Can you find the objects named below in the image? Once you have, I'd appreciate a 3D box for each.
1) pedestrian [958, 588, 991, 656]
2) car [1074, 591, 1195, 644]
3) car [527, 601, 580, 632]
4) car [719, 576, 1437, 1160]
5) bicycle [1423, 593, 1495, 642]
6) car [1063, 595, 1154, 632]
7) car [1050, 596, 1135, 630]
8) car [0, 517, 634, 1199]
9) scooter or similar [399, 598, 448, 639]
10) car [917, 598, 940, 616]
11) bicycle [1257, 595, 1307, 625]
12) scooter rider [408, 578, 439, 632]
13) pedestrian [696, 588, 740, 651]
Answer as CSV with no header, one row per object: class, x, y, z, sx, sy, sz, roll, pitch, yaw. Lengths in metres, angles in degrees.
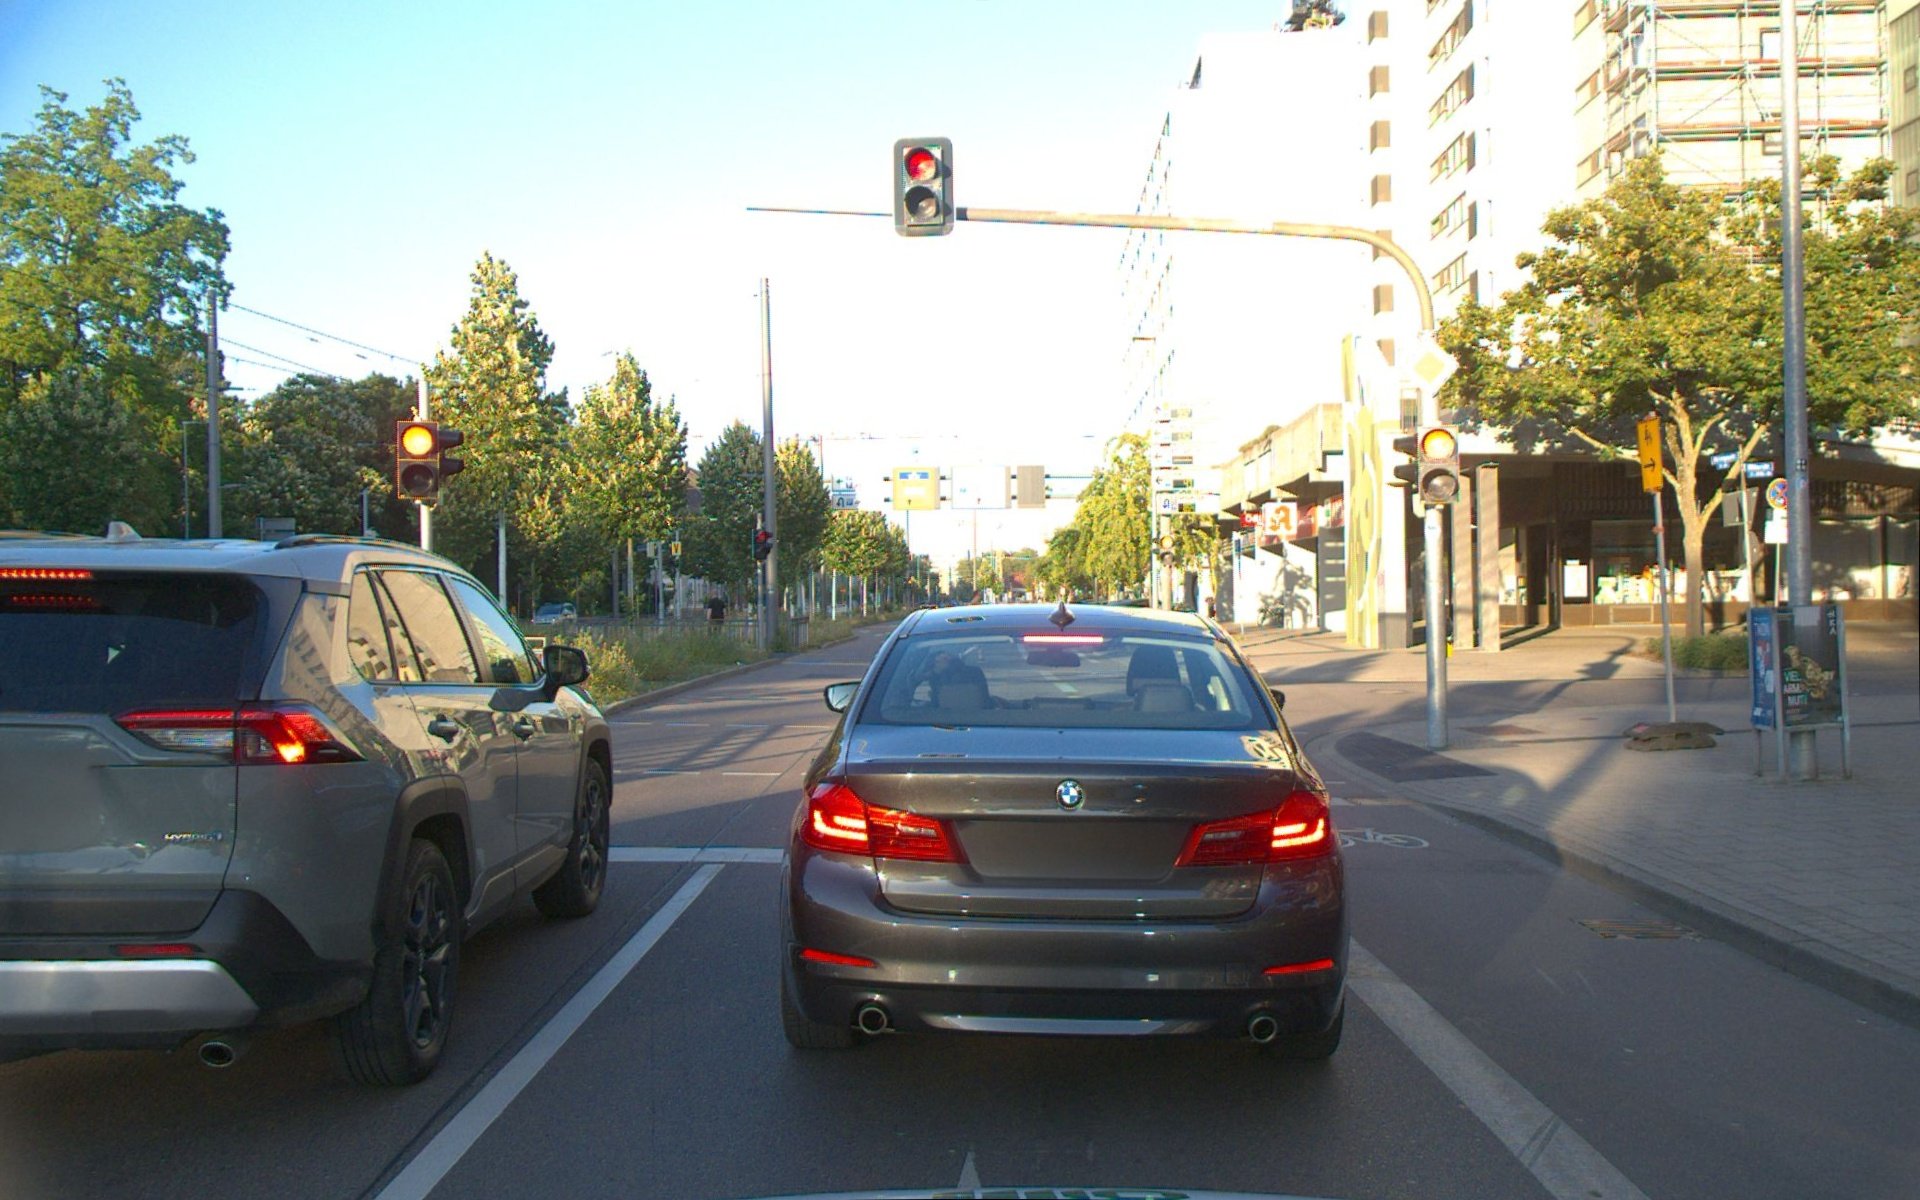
pedestrian,0.373,0.568,43.112,0.818,1.742,0.647,-1,0,-2
car,6.004,0.555,56.618,4.234,1.687,1.831,-1,1,-43
car,-21.224,0.845,86.484,1.763,1.507,3.783,-1,0,0
car,0.373,0.676,6.648,1.892,1.507,4.524,0,1,2
bicycle,12.501,0.438,41.517,0.678,1.169,2.012,2,-1,-18
car,7.125,0.622,79.115,4.221,1.687,1.837,0,1,-36
car,6.847,0.650,85.241,4.219,1.687,1.838,0,1,-36
car,-2.483,0.596,6.170,1.817,1.687,4.267,0,1,-2
scooter or similar,-15.796,0.548,48.693,1.312,1.173,0.510,-1,0,-24
car,-2.802,0.609,146.888,1.938,1.458,4.843,0,1,0
bicycle,13.463,0.426,69.158,1.974,1.169,0.691,2,-1,6
scooter rider,-15.808,0.148,48.725,0.810,1.540,0.648,-1,0,-24
pedestrian,-6.317,0.500,43.150,0.803,1.614,0.826,-1,0,-37
